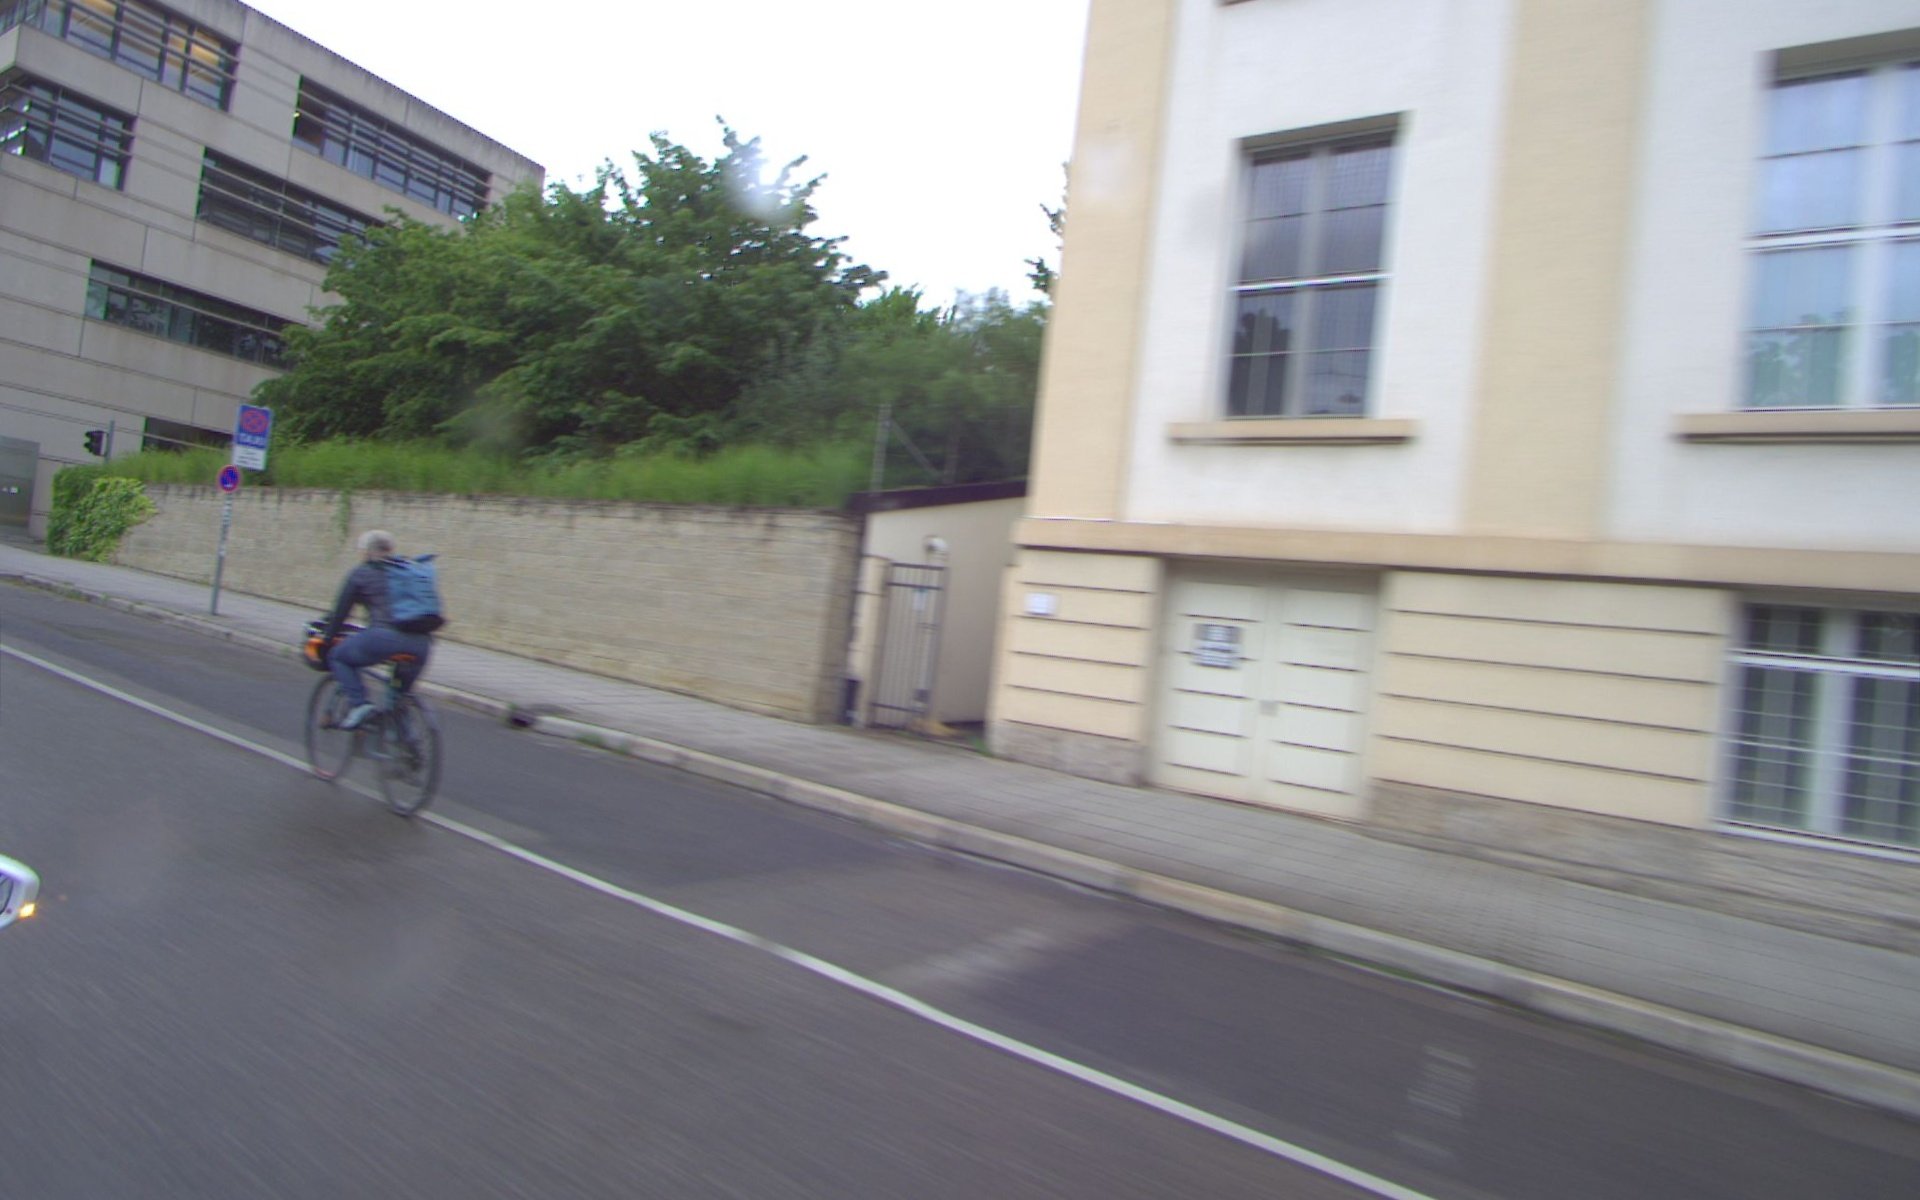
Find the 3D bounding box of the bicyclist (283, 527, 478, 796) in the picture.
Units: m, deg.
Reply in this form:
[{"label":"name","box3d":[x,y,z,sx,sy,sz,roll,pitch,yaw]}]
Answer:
[{"label":"bicyclist","box3d":[-3.458,0.345,5.995,0.915,1.449,0.485,6,-2,34]}]

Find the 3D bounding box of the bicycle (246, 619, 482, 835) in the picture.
[{"label":"bicycle","box3d":[-3.620,0.716,6.056,1.663,0.974,0.448,8,-1,34]}]
